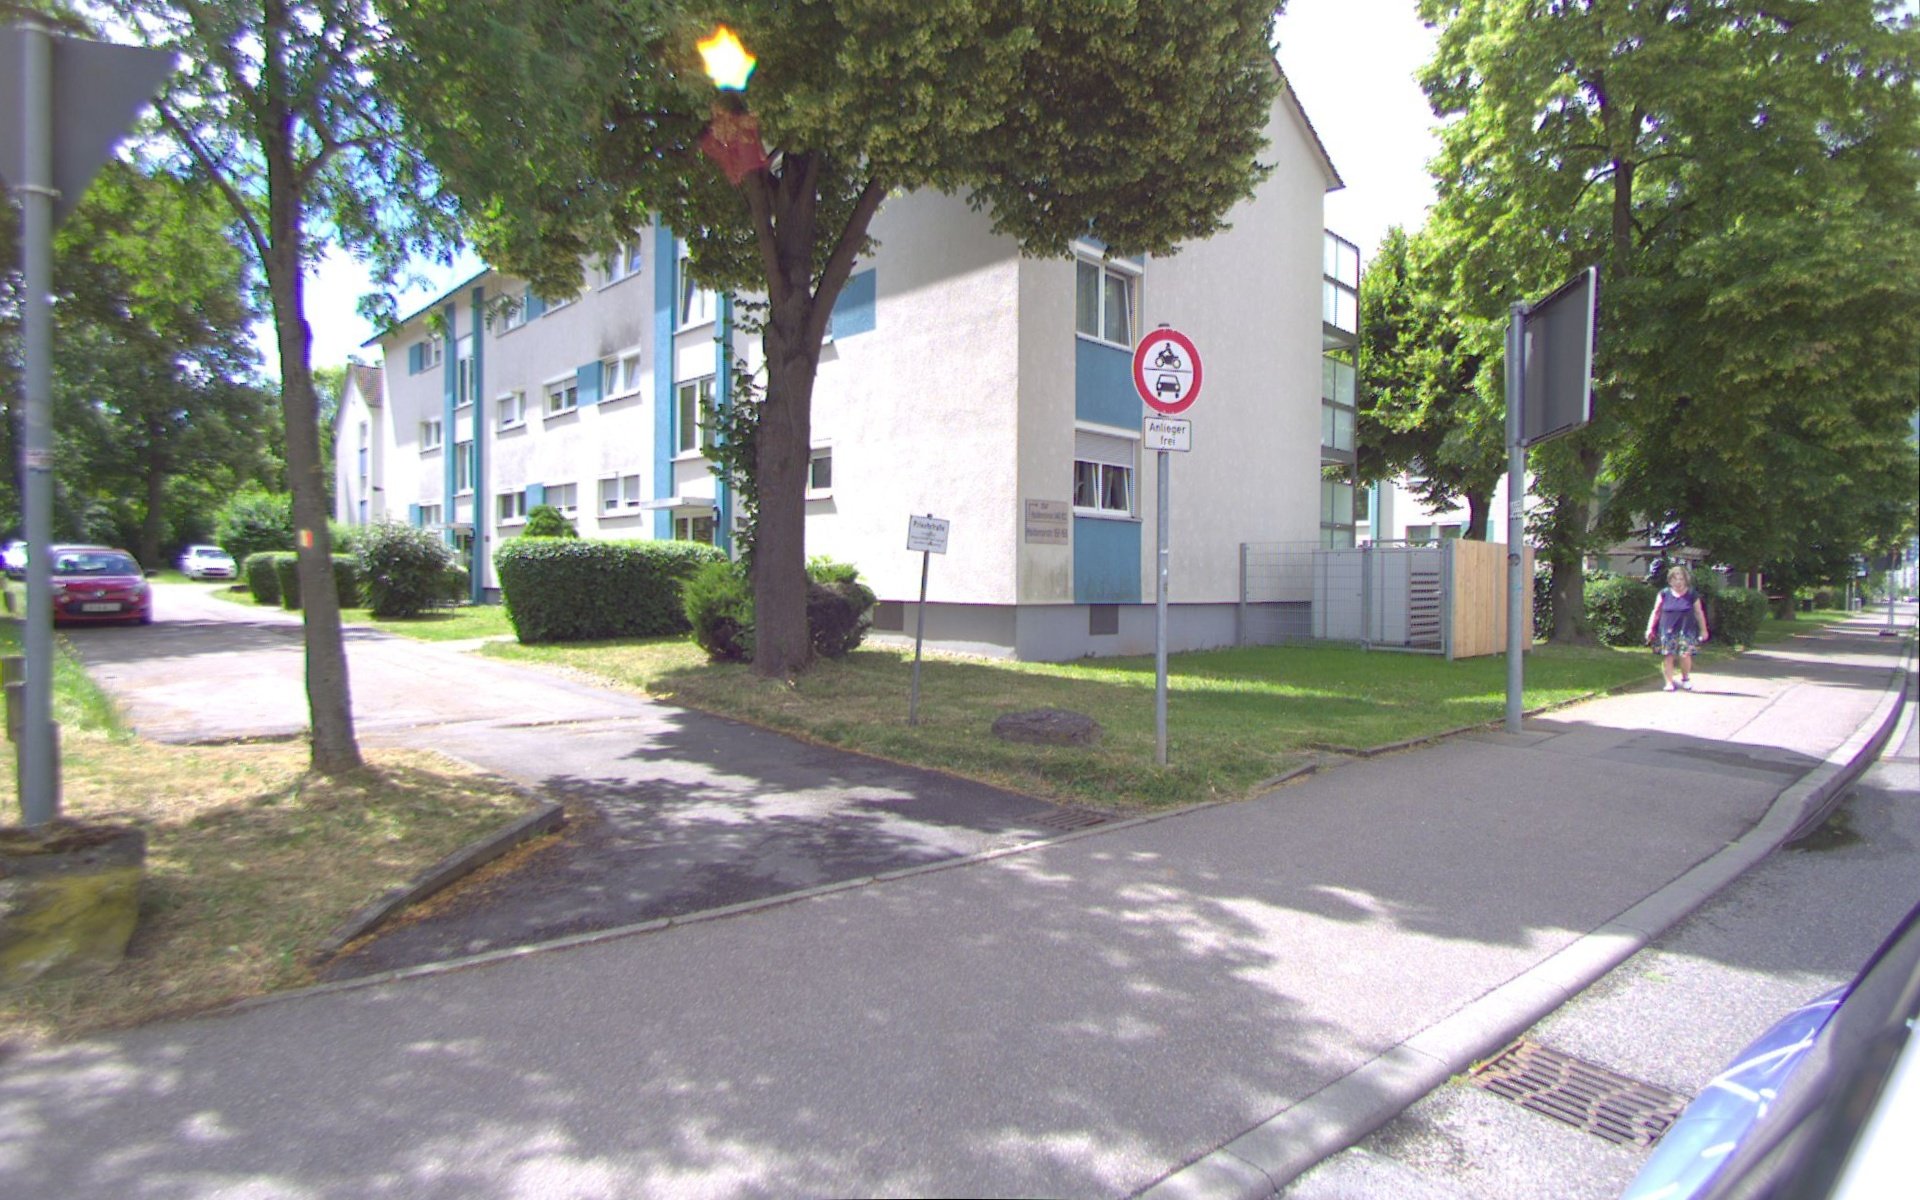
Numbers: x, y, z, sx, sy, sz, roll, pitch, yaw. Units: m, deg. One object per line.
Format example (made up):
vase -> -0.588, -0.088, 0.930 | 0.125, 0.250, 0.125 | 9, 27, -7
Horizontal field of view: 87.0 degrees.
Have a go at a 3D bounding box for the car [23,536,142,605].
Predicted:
car -> -21.200, -0.734, 24.400 | 3.989, 1.522, 1.888 | 3, 2, 45

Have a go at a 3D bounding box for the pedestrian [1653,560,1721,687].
pedestrian -> 10.003, 0.300, 13.927 | 0.681, 1.681, 0.820 | 2, 1, 39

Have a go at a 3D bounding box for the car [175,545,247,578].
car -> -33.248, -1.657, 44.901 | 3.987, 1.329, 1.968 | 0, 0, 45

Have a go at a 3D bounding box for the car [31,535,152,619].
car -> -17.338, -0.428, 20.260 | 1.700, 1.521, 3.876 | -1, 0, -40

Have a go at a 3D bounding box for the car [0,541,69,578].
car -> -37.346, -1.595, 40.879 | 1.965, 1.329, 3.993 | -1, 0, -41
